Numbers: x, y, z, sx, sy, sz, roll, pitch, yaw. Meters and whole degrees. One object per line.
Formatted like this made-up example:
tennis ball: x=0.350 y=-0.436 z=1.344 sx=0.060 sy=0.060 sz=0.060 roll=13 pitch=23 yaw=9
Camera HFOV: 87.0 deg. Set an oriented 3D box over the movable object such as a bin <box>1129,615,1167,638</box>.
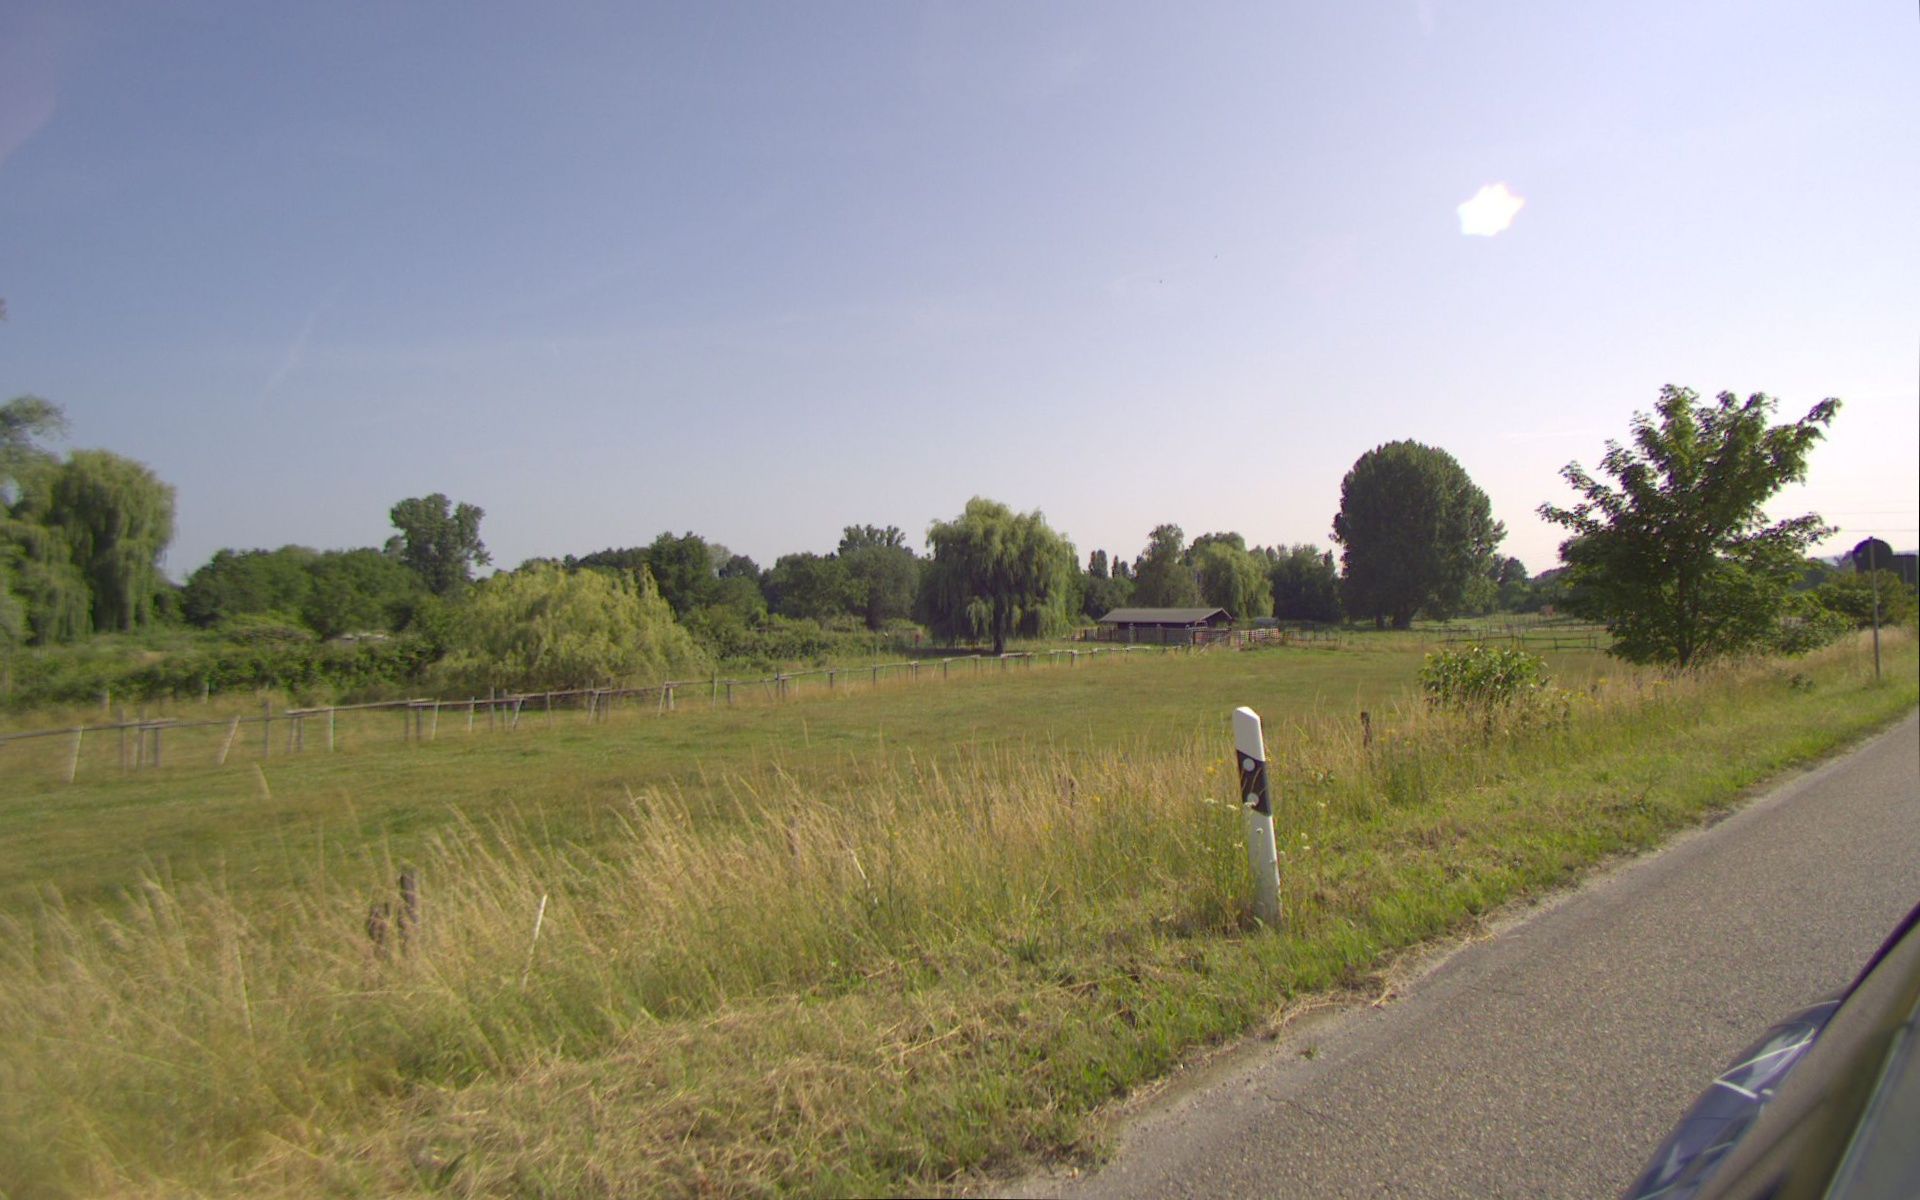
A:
movable object such as a bin: x=19.237 y=2.732 z=103.529 sx=1.990 sy=2.222 sz=4.103 roll=-4 pitch=-3 yaw=40
